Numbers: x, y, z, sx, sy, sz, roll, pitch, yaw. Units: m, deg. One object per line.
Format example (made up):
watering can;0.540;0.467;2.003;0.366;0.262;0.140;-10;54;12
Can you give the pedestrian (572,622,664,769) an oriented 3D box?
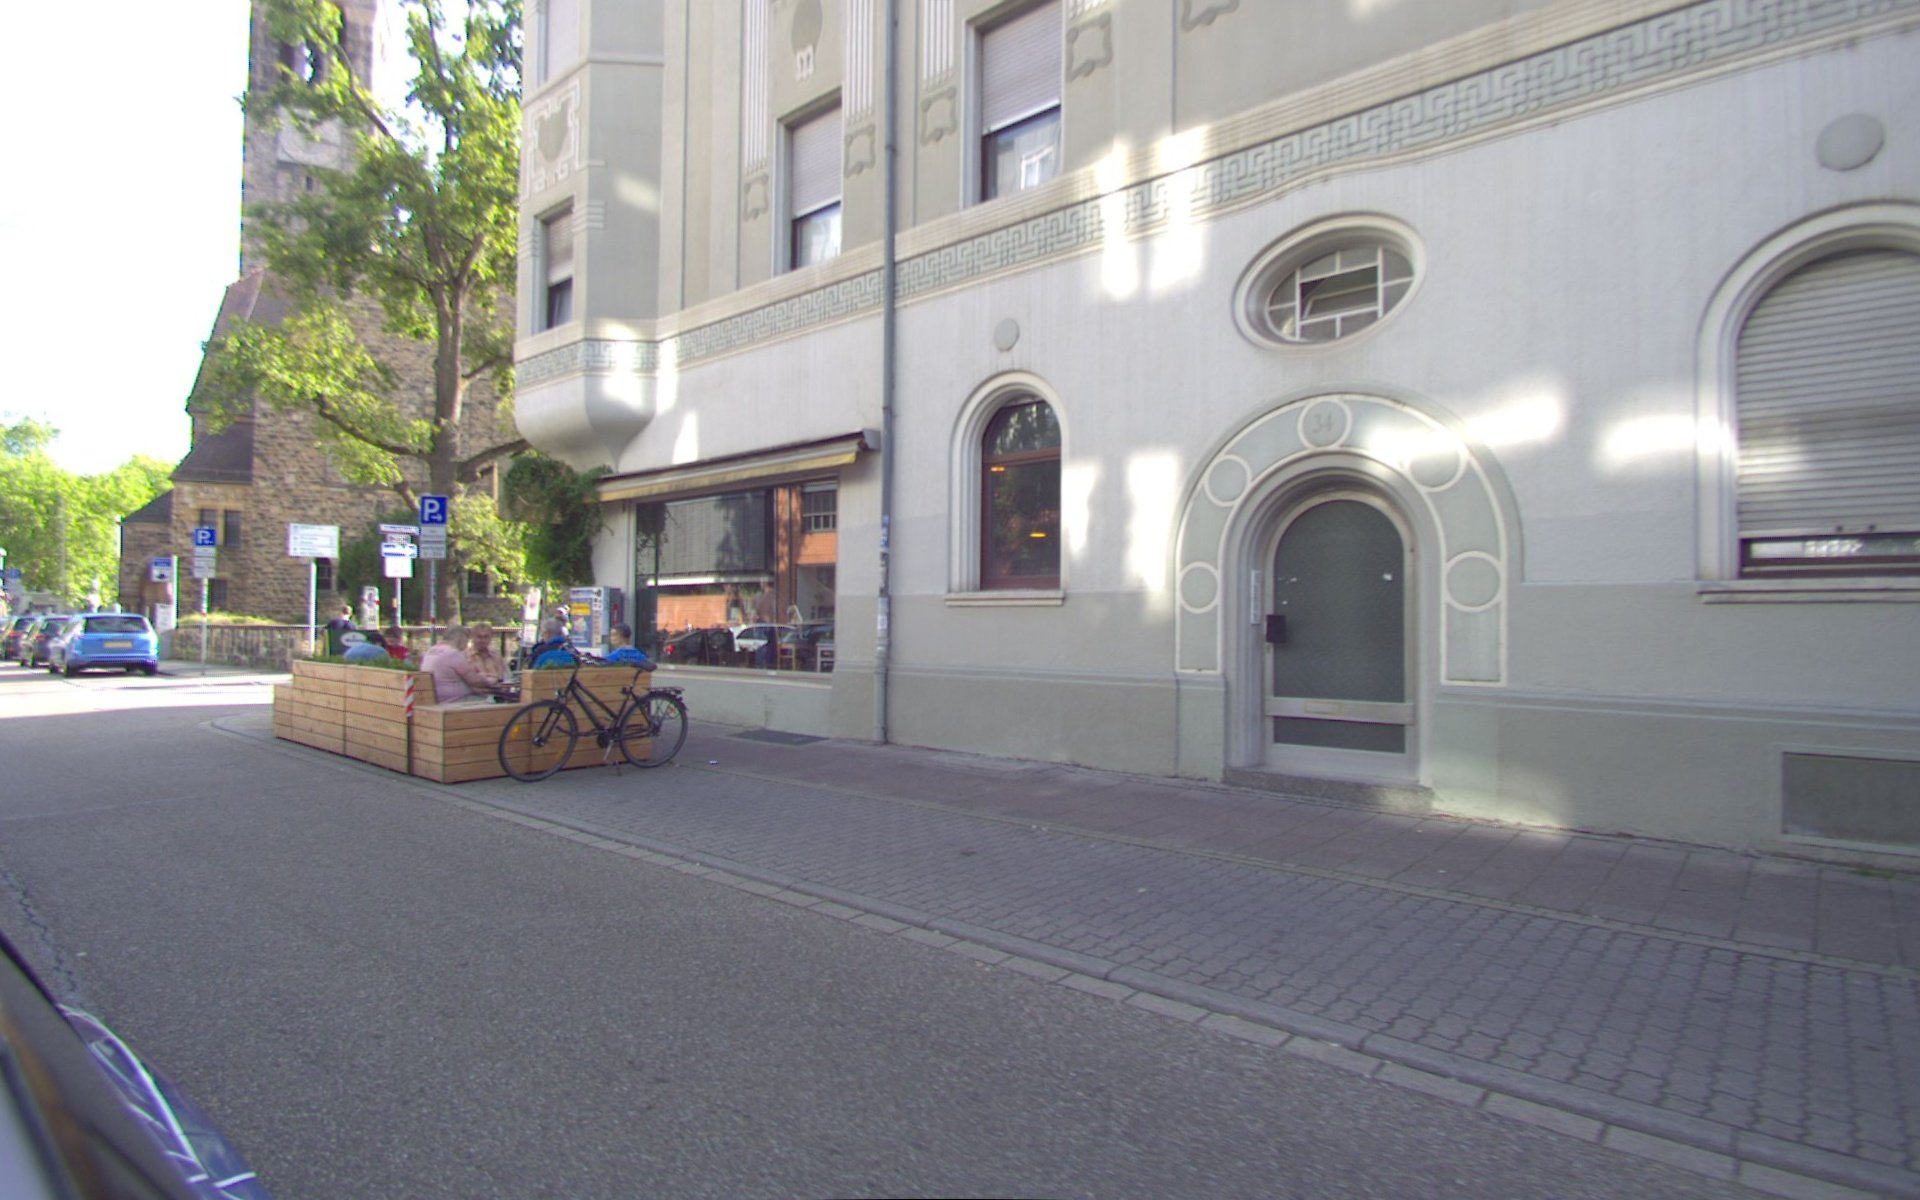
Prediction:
pedestrian;-3.388;0.910;10.033;0.684;1.383;0.628;-1;-1;45

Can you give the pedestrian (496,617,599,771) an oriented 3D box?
pedestrian;-3.909;0.852;9.590;0.740;1.383;0.680;-1;-1;45

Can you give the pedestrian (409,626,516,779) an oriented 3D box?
pedestrian;-4.697;0.931;9.561;0.644;1.359;0.729;-1;-1;44

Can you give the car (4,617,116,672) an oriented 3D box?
car;-25.364;1.195;28.485;3.998;1.431;1.886;-1;-1;41

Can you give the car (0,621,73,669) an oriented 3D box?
car;-30.215;1.418;32.656;3.998;1.431;1.886;-1;-1;41

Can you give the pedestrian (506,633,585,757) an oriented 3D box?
pedestrian;-4.463;0.990;10.885;0.589;1.253;0.694;0;-1;-42

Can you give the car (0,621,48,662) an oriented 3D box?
car;-35.149;1.493;37.258;3.998;1.431;1.886;-1;-1;41

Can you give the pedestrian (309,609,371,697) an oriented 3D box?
pedestrian;-12.518;1.037;20.433;0.879;1.722;0.834;-1;-1;41

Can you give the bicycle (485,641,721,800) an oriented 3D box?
bicycle;-3.074;0.983;8.863;0.688;1.184;1.848;-1;-1;43

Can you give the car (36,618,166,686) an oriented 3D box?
car;-20.820;1.189;24.475;4.168;1.497;1.804;-1;-1;41

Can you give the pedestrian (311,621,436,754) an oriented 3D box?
pedestrian;-6.580;0.936;11.360;1.073;1.383;0.896;0;-1;-41

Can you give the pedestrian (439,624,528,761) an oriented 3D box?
pedestrian;-4.944;0.927;10.493;0.658;1.346;0.740;0;-1;-42
